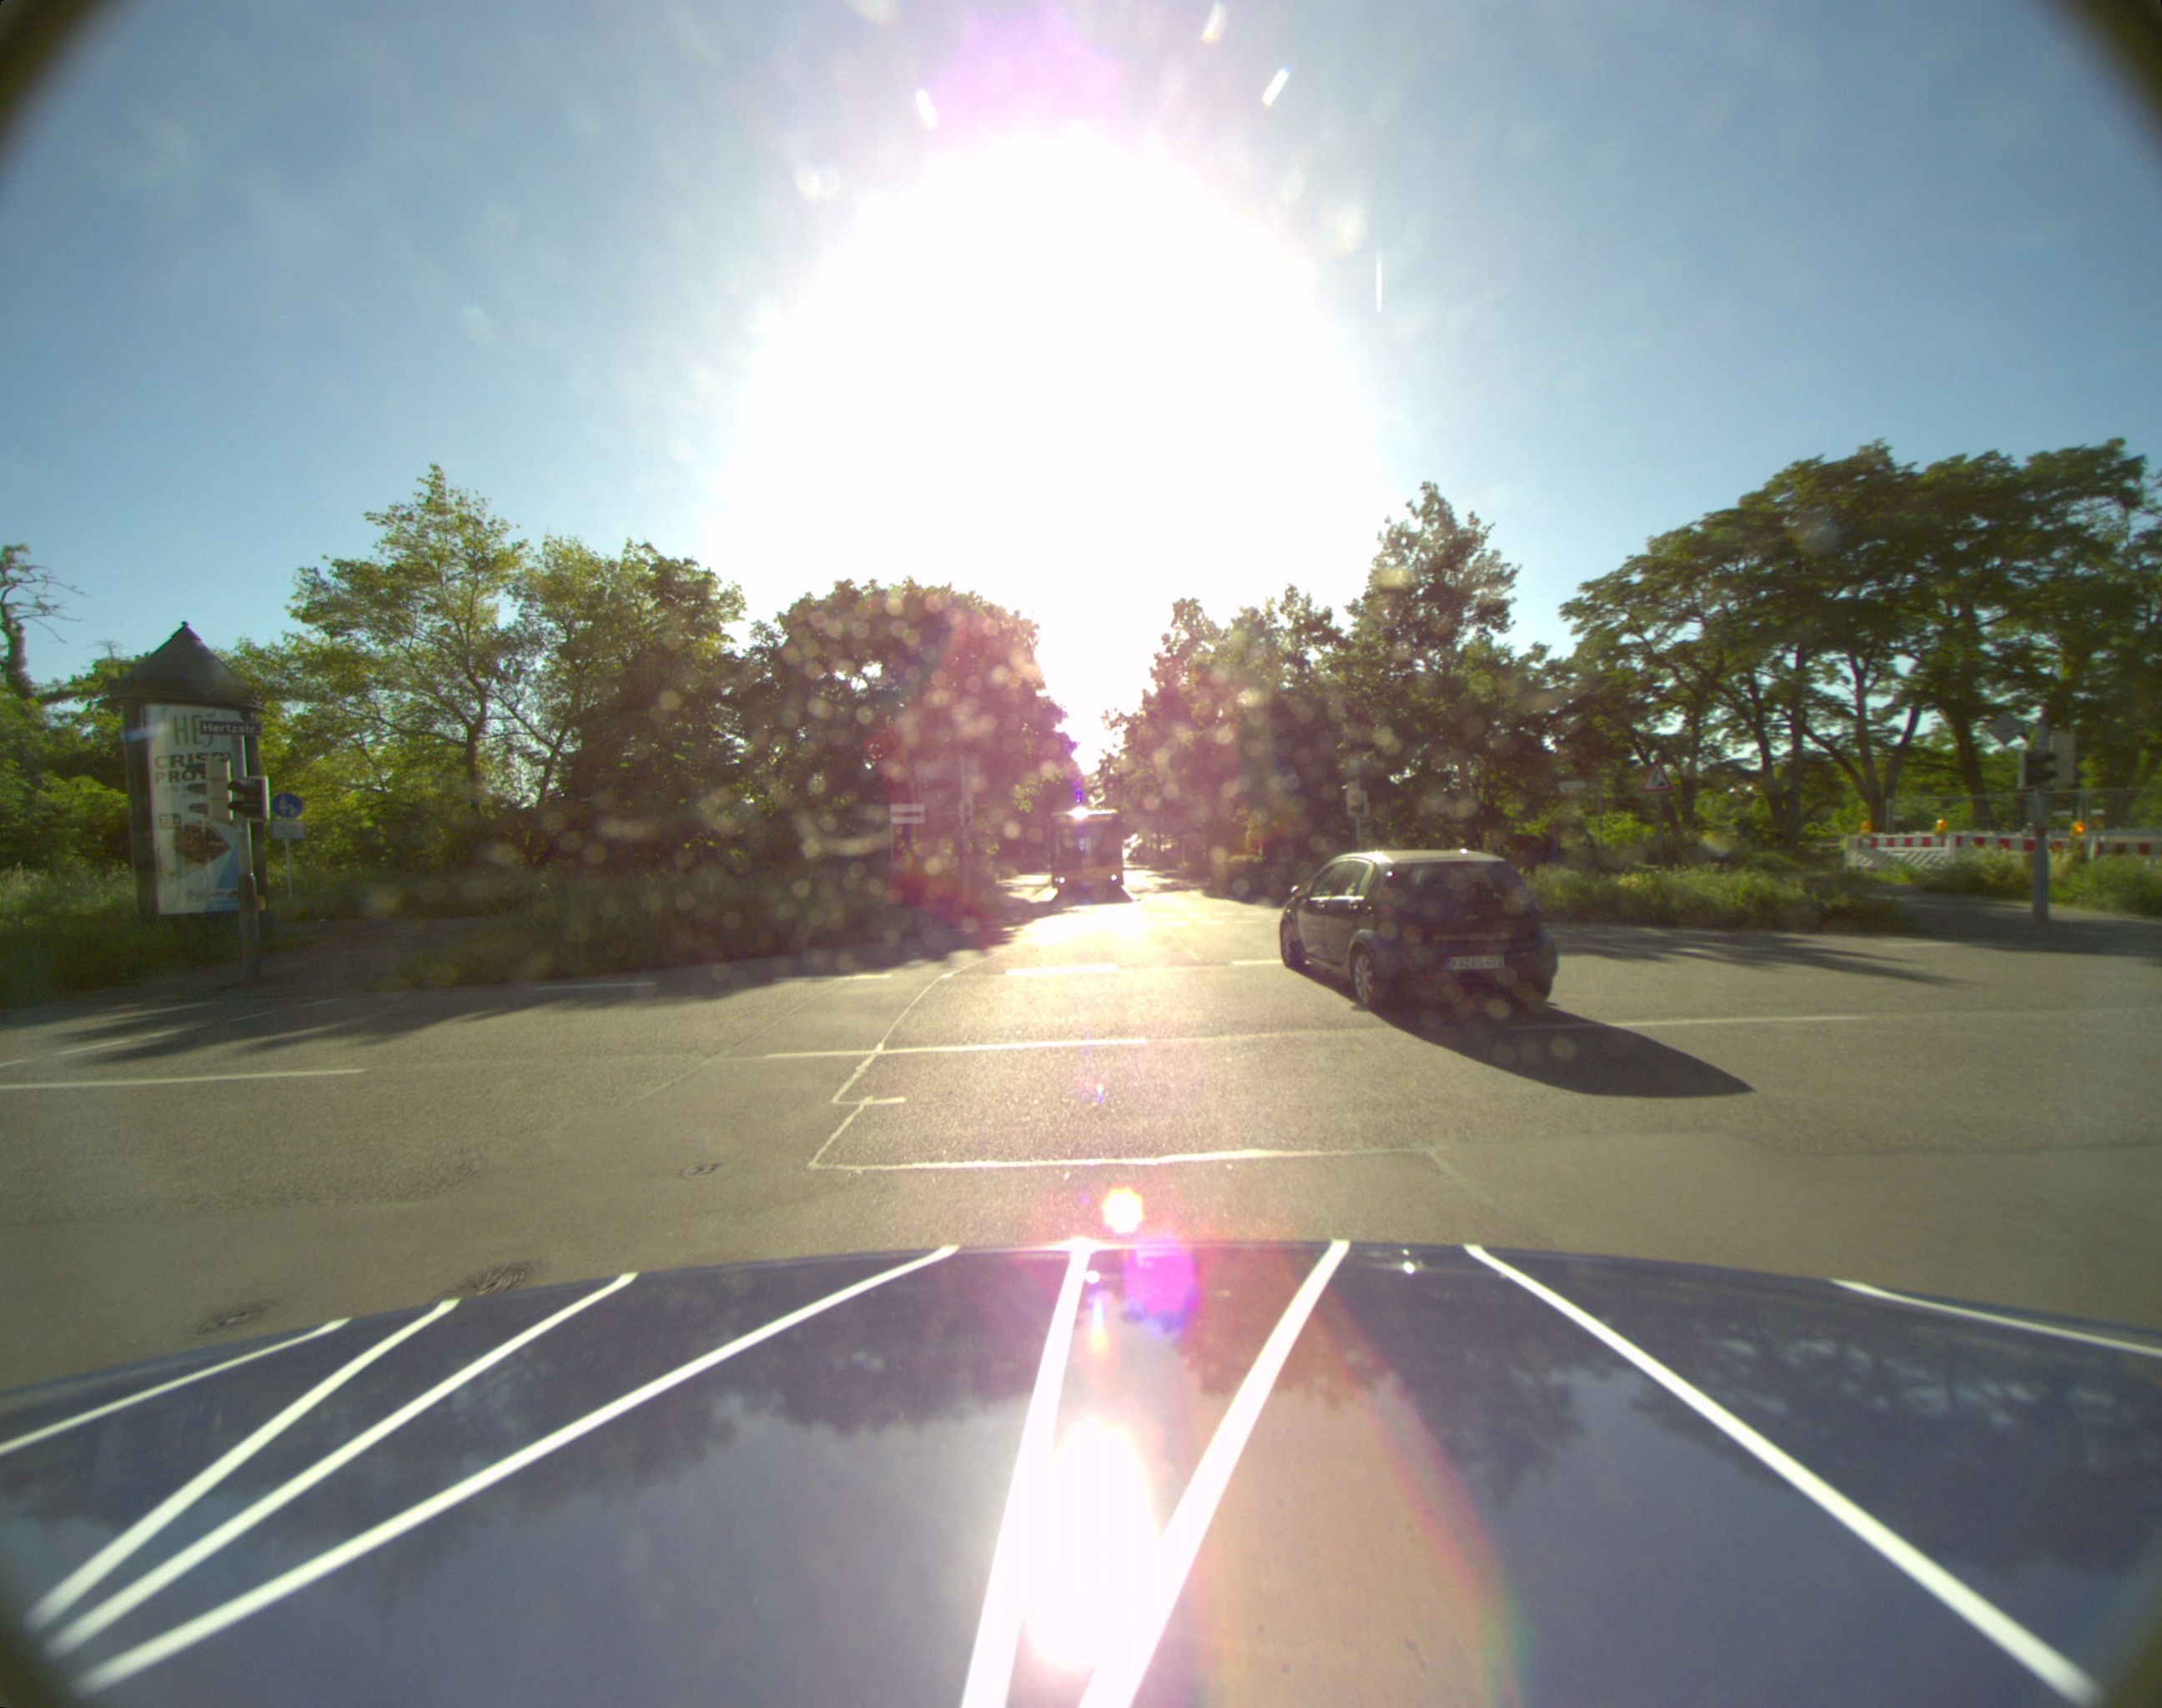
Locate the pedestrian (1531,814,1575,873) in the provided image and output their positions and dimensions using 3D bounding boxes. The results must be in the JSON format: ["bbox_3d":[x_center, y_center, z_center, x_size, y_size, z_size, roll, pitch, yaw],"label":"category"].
[{"bbox_3d":[13.737,-0.307,22.121,0.800,1.624,0.647,-4,1,1],"label":"pedestrian"}]

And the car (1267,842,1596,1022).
[{"bbox_3d":[3.395,0.622,8.256,1.810,1.447,3.849,-1,1,0],"label":"car"}]

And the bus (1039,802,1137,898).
[{"bbox_3d":[0.404,-0.239,32.111,3.128,3.081,12.478,-4,1,2],"label":"bus"}]
